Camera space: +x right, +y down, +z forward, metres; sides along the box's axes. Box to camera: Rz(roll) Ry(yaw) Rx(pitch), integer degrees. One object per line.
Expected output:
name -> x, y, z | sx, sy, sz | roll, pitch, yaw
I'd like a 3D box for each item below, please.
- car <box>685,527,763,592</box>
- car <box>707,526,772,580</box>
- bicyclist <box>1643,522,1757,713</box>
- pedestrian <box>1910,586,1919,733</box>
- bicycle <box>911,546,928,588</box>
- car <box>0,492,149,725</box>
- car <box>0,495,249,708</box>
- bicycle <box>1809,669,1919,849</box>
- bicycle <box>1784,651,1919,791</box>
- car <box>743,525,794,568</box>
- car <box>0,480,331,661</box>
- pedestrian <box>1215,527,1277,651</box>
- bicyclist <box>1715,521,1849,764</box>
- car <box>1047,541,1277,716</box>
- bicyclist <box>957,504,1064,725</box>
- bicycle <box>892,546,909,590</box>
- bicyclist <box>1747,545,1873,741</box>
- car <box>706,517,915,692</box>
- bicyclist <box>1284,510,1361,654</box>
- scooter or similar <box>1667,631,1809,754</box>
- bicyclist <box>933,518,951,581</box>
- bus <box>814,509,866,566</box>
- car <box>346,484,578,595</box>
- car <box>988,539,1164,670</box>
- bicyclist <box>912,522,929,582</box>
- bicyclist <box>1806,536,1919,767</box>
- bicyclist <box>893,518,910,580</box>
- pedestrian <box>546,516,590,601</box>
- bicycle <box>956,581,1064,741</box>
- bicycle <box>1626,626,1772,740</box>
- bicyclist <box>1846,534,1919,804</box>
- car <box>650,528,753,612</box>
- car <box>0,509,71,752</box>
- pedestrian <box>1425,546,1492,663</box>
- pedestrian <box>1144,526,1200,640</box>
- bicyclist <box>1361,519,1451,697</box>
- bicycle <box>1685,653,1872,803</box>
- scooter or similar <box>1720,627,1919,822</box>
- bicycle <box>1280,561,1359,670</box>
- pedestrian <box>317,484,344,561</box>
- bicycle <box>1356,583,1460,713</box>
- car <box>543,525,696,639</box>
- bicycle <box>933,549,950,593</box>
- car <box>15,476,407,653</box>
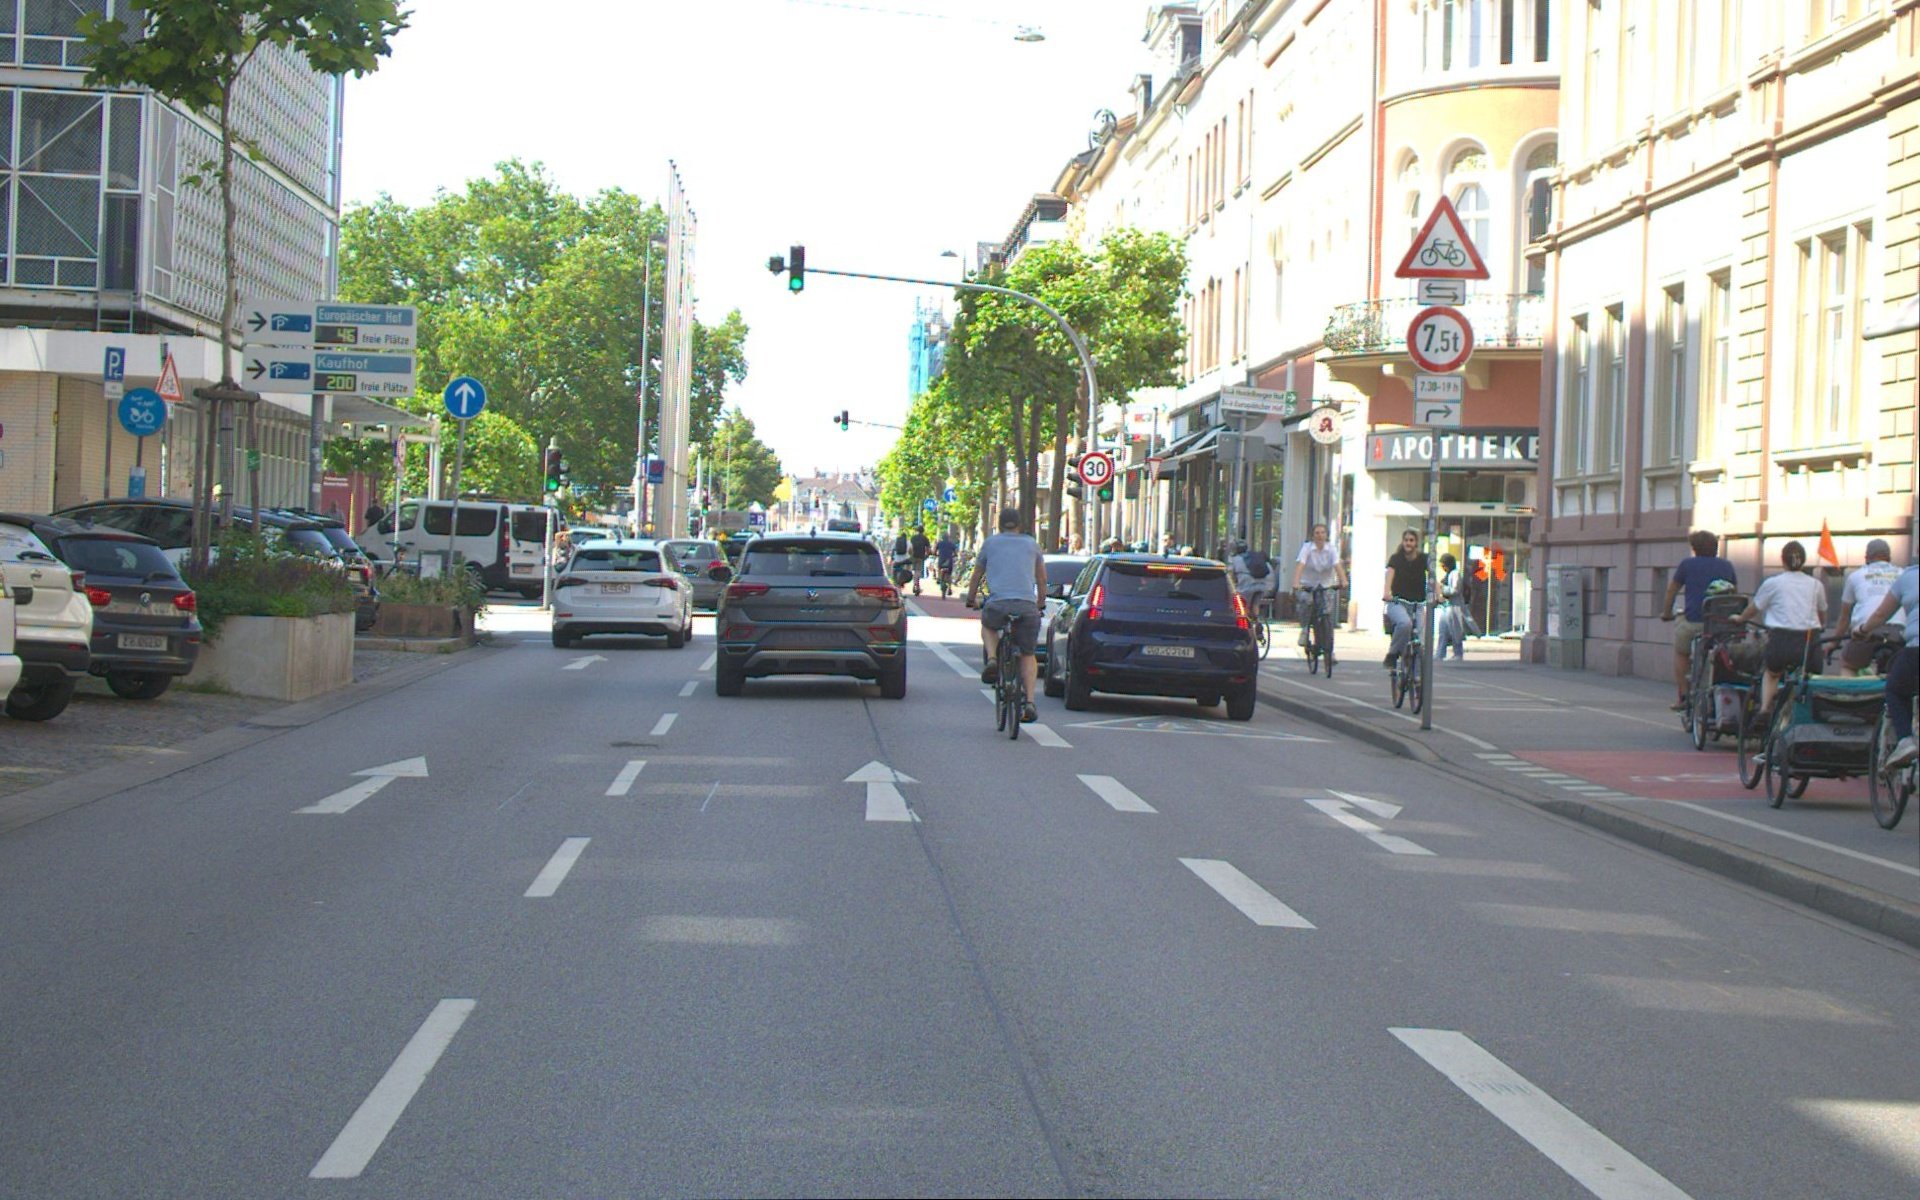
car -> -5.537, -0.978, 80.988 | 1.743, 1.436, 4.001 | 2, 1, -3
car -> -6.209, -1.337, 97.110 | 1.743, 1.436, 4.001 | 2, 1, -3
bicyclist -> 6.336, 0.139, 29.467 | 0.709, 1.589, 0.963 | 2, 1, -1
pedestrian -> 8.789, 0.511, 29.865 | 0.936, 1.264, 0.567 | 0, 1, 4
bicycle -> -1.117, -0.907, 94.328 | 0.419, 1.131, 1.910 | 2, 1, -1
car -> -8.151, -0.125, 25.056 | 3.992, 1.563, 1.698 | 7, 1, 23
car -> -7.946, -0.106, 28.336 | 3.996, 1.454, 1.666 | 8, 1, 35
bicycle -> 5.385, 0.877, 19.339 | 0.647, 0.876, 2.103 | 2, 1, -1
bicycle -> 6.452, 0.842, 24.409 | 0.647, 0.876, 2.103 | 2, 1, -1
car -> -6.689, -1.871, 120.218 | 1.743, 1.436, 4.001 | 2, 1, -3
car -> -8.645, -0.348, 35.366 | 3.986, 1.495, 1.717 | 6, 1, -4
pedestrian -> 4.201, -0.166, 50.503 | 0.652, 1.803, 0.730 | 1, 1, -13
bicyclist -> 5.530, 0.277, 23.173 | 0.632, 1.589, 0.920 | 2, 0, -1
car -> 1.876, 0.234, 32.812 | 1.822, 1.404, 3.187 | 4, 2, -2
bicyclist -> 0.391, 0.102, 27.152 | 0.694, 1.667, 0.916 | 4, 2, -1
bicycle -> -1.581, -0.853, 91.119 | 0.419, 1.131, 1.910 | 2, 1, -1
bicyclist -> 5.538, 0.271, 22.426 | 0.623, 1.244, 0.608 | 2, 1, 0
car -> -1.436, 0.039, 33.105 | 1.833, 1.522, 4.000 | 2, 0, -2
bicyclist -> 4.359, -0.223, 41.358 | 0.694, 1.668, 0.835 | 4, 2, -1
scooter or similar -> 6.305, 0.742, 27.912 | 0.853, 0.916, 1.164 | 2, 1, -1
bicyclist -> -0.475, -1.333, 90.632 | 0.419, 1.624, 0.709 | 2, 1, -1
bus -> -7.938, -4.144, 226.952 | 2.769, 3.592, 8.976 | 2, 1, -6
car -> -10.479, -1.281, 72.192 | 4.719, 1.997, 1.937 | 4, -1, 38
car -> 1.328, 0.015, 40.938 | 1.822, 1.380, 4.001 | 2, 2, -1
bicyclist -> -1.090, -1.310, 94.320 | 0.419, 1.624, 0.669 | 2, 1, -1
bicyclist -> 6.476, 0.354, 24.414 | 0.658, 1.589, 0.920 | 2, 1, -1
bicyclist -> -1.551, -1.363, 91.276 | 0.419, 1.624, 0.709 | 2, 1, -1
pedestrian -> -7.529, -0.794, 65.951 | 0.612, 1.610, 0.550 | 2, -1, -32
bicycle -> 0.377, 0.457, 27.104 | 0.664, 1.116, 2.243 | 4, 2, -2
bicycle -> 6.307, 0.696, 29.440 | 0.740, 0.876, 2.138 | 2, 1, -1
bicyclist -> 5.396, 0.374, 19.174 | 0.625, 1.471, 0.889 | 2, 1, -1
car -> -4.687, -0.568, 62.763 | 1.743, 1.436, 4.001 | 2, 1, -3
car -> -7.874, 0.000, 21.536 | 3.990, 1.485, 1.782 | 6, 1, 15
pedestrian -> 7.452, 0.057, 51.411 | 0.791, 1.714, 0.730 | 1, 1, -7
pedestrian -> 3.430, -0.280, 55.574 | 0.727, 1.803, 0.653 | 2, 1, 15
bicyclist -> 4.300, 0.086, 33.152 | 0.694, 1.668, 0.835 | 2, -2, -1
bicycle -> 5.524, 0.841, 23.340 | 0.647, 0.876, 2.389 | 2, 1, -1
scooter or similar -> 5.351, 0.753, 21.378 | 0.870, 1.118, 1.621 | 0, 1, -1
bicycle -> 4.301, 0.167, 41.278 | 0.555, 1.205, 2.243 | 4, 2, -2
pedestrian -> -16.707, -2.057, 91.265 | 0.623, 2.007, 0.572 | 1, 1, -8
bicycle -> 4.283, 0.440, 33.004 | 0.555, 1.116, 2.243 | 4, 2, -2
car -> -4.595, -0.270, 46.908 | 1.863, 1.436, 4.001 | 2, 1, -3
bicycle -> -0.489, -0.779, 90.526 | 0.419, 1.131, 1.910 | 2, 1, -1
car -> -8.400, -0.406, 38.807 | 3.986, 1.540, 1.717 | 6, 1, -4
